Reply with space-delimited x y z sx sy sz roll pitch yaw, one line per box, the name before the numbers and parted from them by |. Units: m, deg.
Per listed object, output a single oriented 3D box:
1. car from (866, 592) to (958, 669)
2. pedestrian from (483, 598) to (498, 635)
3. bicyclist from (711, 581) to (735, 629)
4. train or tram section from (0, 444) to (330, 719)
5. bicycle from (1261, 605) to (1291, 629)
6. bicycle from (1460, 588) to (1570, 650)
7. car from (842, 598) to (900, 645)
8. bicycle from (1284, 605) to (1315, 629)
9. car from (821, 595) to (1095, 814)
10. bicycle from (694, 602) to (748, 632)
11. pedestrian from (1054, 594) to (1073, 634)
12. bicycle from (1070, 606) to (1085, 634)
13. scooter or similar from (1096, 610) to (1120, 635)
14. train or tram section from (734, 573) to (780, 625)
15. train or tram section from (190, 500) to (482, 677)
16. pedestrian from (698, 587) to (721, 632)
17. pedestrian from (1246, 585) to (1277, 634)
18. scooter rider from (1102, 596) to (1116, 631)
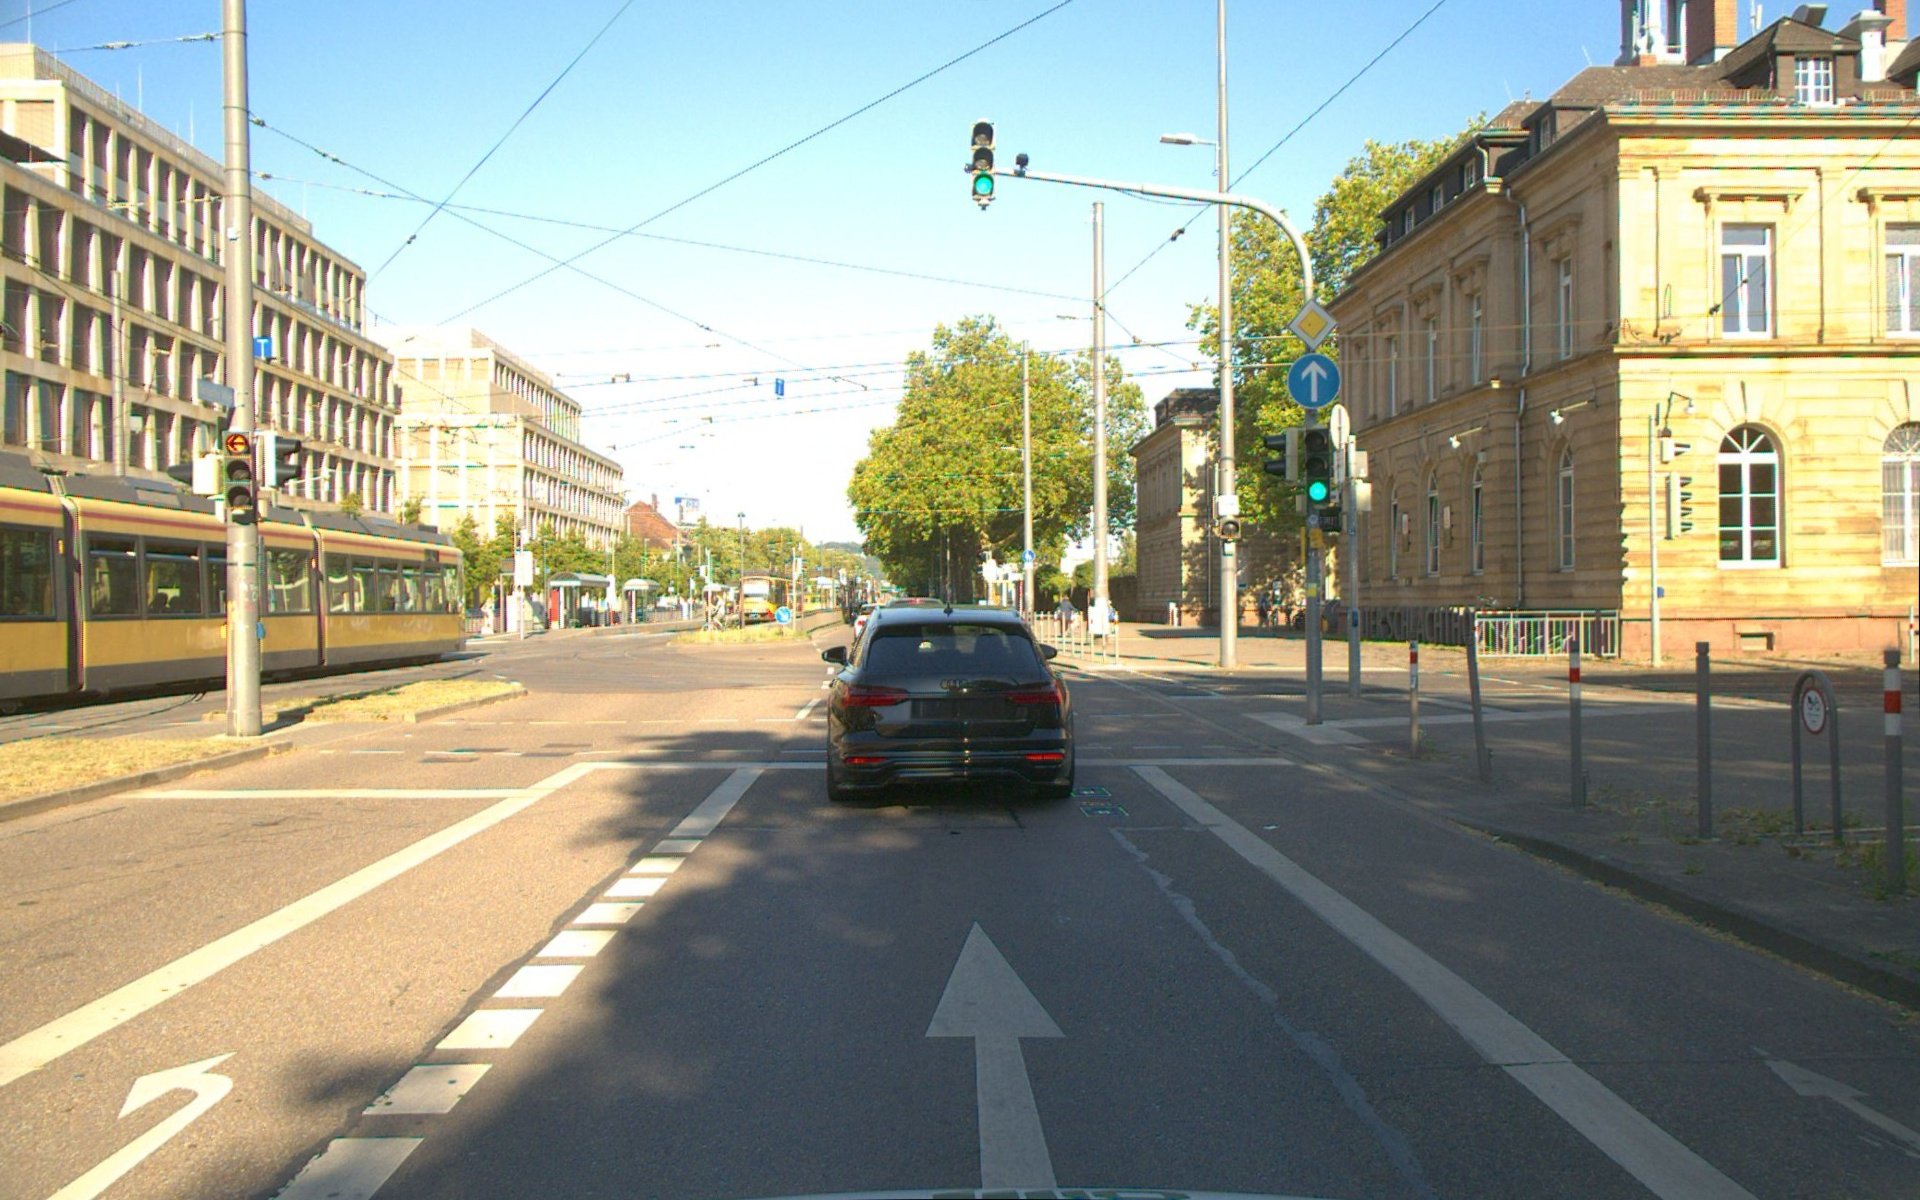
car | -1.044 0.611 35.816 1.864 1.512 4.143 -1 1 -2
pedestrian | -21.772 0.768 76.693 0.610 1.693 0.510 -1 0 -27
bicyclist | -9.300 0.184 64.877 0.747 1.850 0.758 -1 0 -26
train or tram section | -13.976 -0.217 26.961 2.756 3.550 13.198 -1 0 -2
bicycle | 14.184 0.756 74.290 0.516 1.065 2.353 -1 0 -10
bicycle | 11.903 0.406 35.500 2.095 1.230 0.765 -2 0 -4
car | -3.049 0.730 57.391 1.864 1.512 4.143 -1 1 -2
bicycle | 15.227 0.767 74.312 0.516 1.065 2.353 -1 0 -10
car | -0.066 0.707 13.420 1.864 1.446 4.143 -1 1 -2
bicycle | -9.373 0.668 64.859 1.981 1.127 0.758 -1 0 -26
pedestrian | 4.343 0.583 69.642 0.668 1.690 0.758 -1 0 -4
bicycle | 4.956 0.831 69.692 0.426 1.165 1.339 -1 0 -4
scooter or similar | 6.104 0.921 68.175 0.920 0.983 0.361 -2 -1 -5
train or tram section | -14.280 -0.081 117.226 2.557 3.511 11.123 -1 0 -4
train or tram section | -14.410 -0.227 39.624 2.756 3.550 12.148 -1 0 -2
pedestrian | -10.056 0.375 66.350 0.730 1.772 0.658 -1 0 -25
pedestrian | 11.904 0.373 65.402 0.961 1.898 0.824 -1 0 -10
scooter rider | 6.154 0.563 68.184 0.475 1.410 0.377 -2 -1 -4
